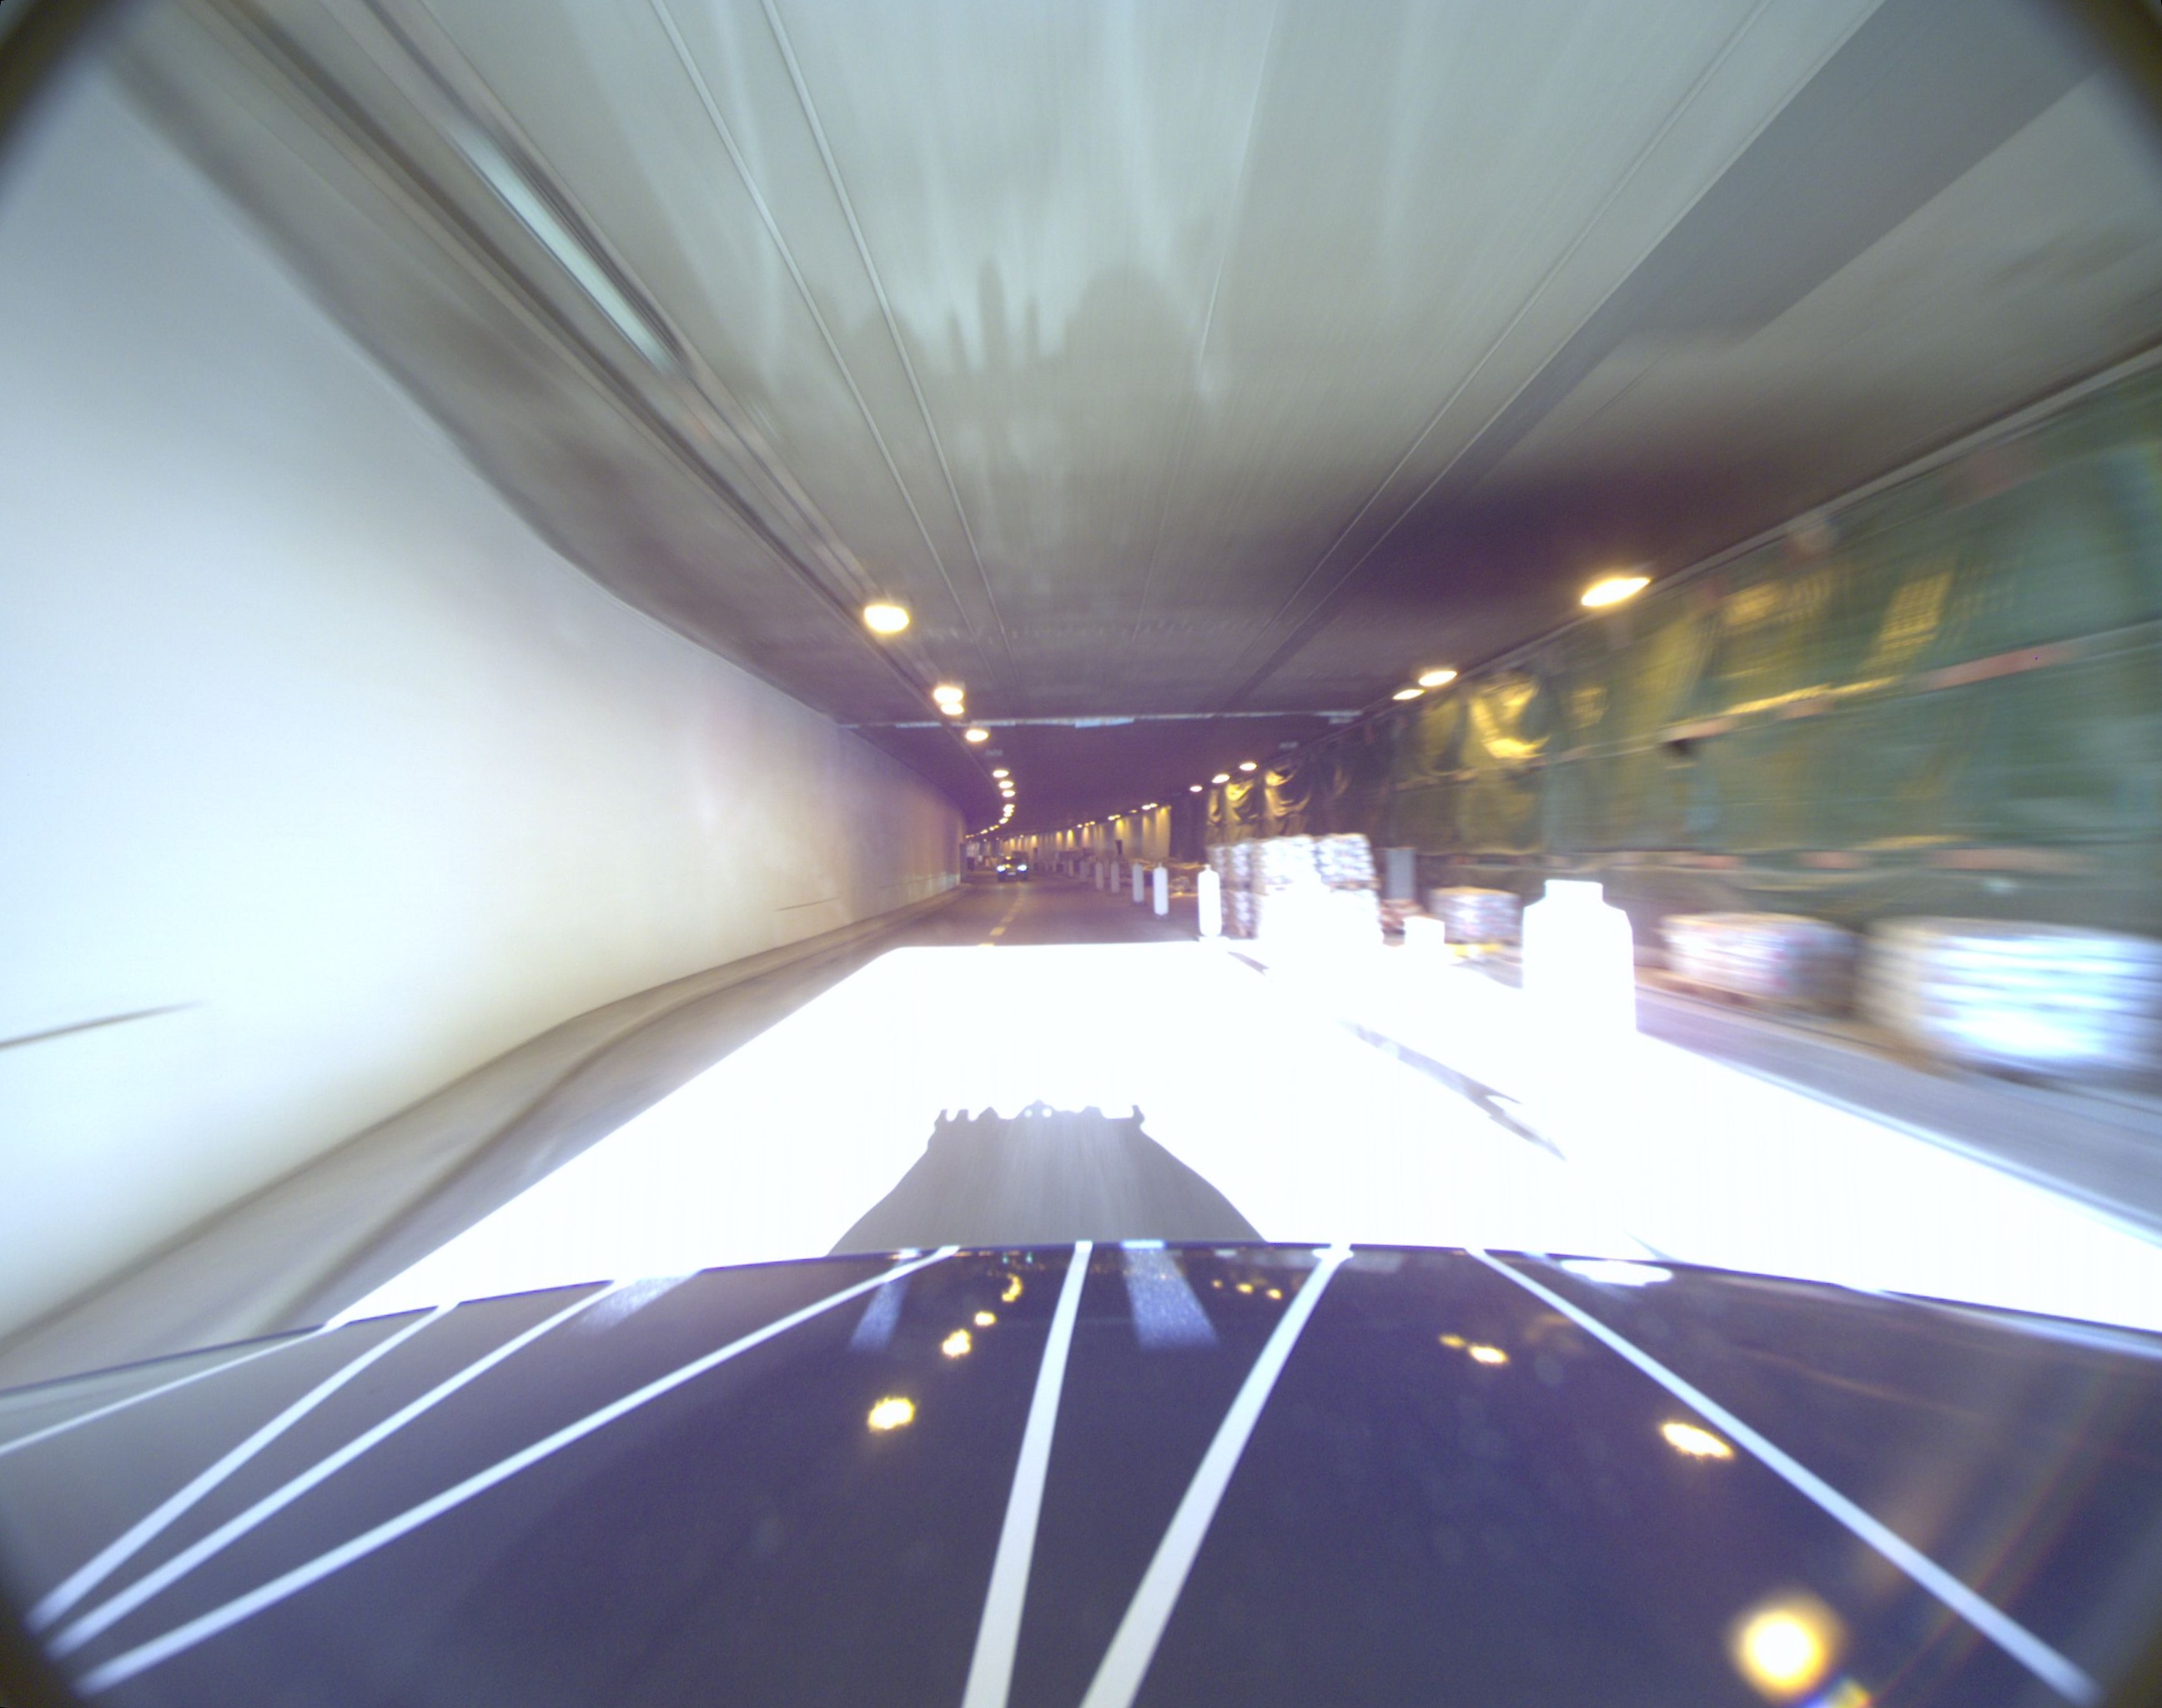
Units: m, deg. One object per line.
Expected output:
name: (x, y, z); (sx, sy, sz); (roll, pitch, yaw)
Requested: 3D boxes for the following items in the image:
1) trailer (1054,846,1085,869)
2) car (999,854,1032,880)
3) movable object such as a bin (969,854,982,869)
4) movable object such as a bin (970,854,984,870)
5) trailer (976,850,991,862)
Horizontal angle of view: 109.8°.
trailer: (-1.131, 0.304, 72.120); (2.216, 2.002, 3.461); (-2, 1, -13)
car: (-4.340, 0.832, 49.782); (1.897, 1.537, 4.237); (-2, 1, -8)
movable object such as a bin: (-10.502, 0.766, 75.528); (1.101, 1.437, 1.320); (-2, 1, -12)
movable object such as a bin: (-10.168, 0.780, 74.154); (1.149, 1.437, 1.362); (-2, 1, -12)
trailer: (-15.620, 0.302, 121.971); (1.646, 1.781, 3.116); (-2, 1, -21)
